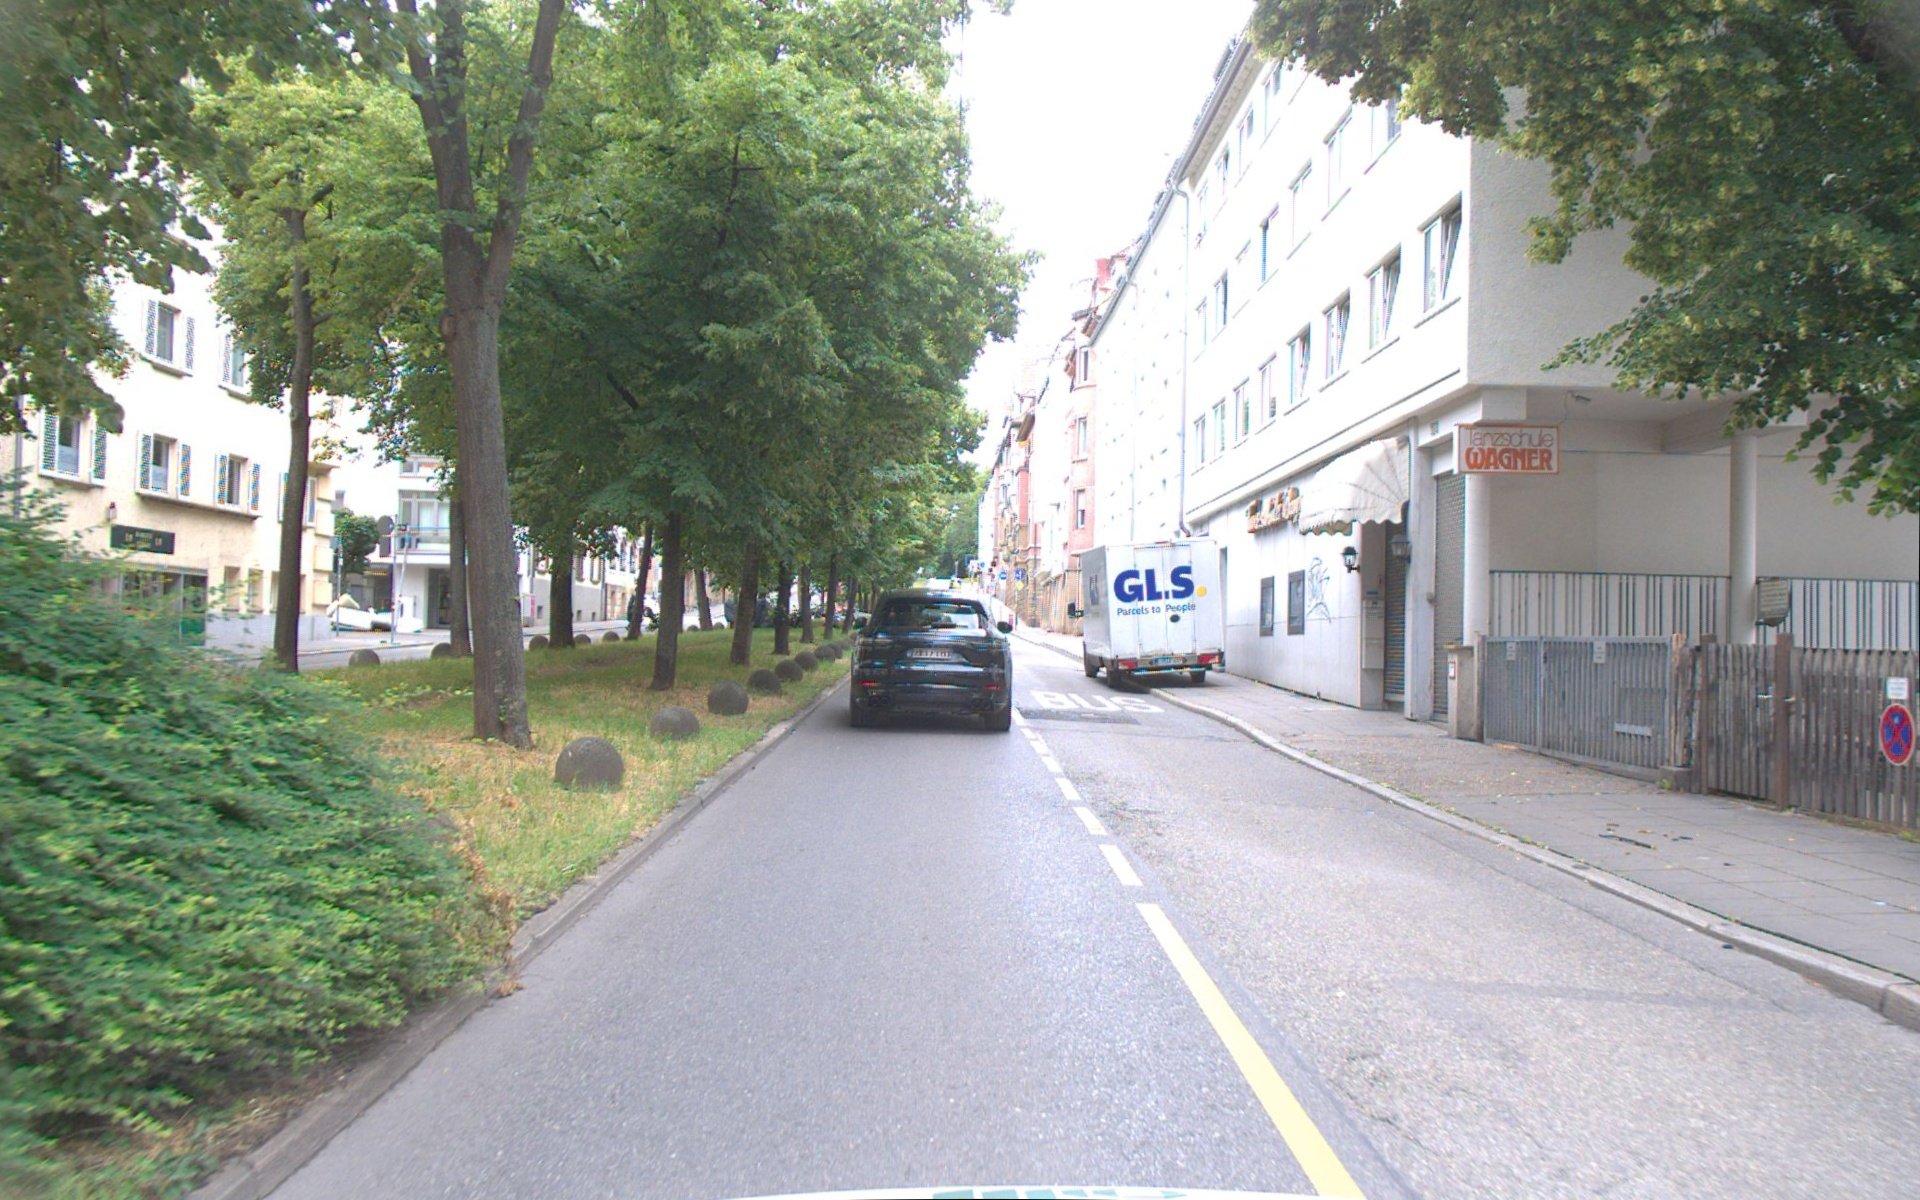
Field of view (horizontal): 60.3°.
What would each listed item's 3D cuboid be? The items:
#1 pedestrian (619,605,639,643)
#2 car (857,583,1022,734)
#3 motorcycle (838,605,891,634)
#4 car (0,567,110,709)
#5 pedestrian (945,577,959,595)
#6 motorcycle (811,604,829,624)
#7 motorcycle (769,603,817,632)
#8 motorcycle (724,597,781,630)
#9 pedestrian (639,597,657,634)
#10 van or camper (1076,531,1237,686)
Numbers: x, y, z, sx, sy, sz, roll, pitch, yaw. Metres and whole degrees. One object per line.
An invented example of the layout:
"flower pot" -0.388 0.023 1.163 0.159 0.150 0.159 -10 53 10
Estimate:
"pedestrian" -14.525 1.040 72.614 0.621 1.641 0.764 2 0 2
"car" -0.310 0.678 20.999 1.865 1.695 4.133 1 0 -2
"motorcycle" -4.294 0.880 74.570 2.308 1.257 1.033 1 1 -2
"car" -12.143 0.427 19.634 1.909 1.657 4.363 1 0 -2
"pedestrian" -0.880 -1.569 185.938 1.281 2.049 1.014 1 0 -19
"motorcycle" -8.378 0.833 98.867 0.882 1.126 2.250 0 -2 0
"motorcycle" -7.578 0.796 75.099 1.986 1.257 0.897 1 0 4
"motorcycle" -8.999 0.577 71.706 2.334 1.340 1.045 1 0 -2
"pedestrian" -13.959 0.681 73.948 0.649 1.644 0.579 1 0 1
"van or camper" 3.924 0.162 34.529 2.429 2.852 7.237 1 0 0
